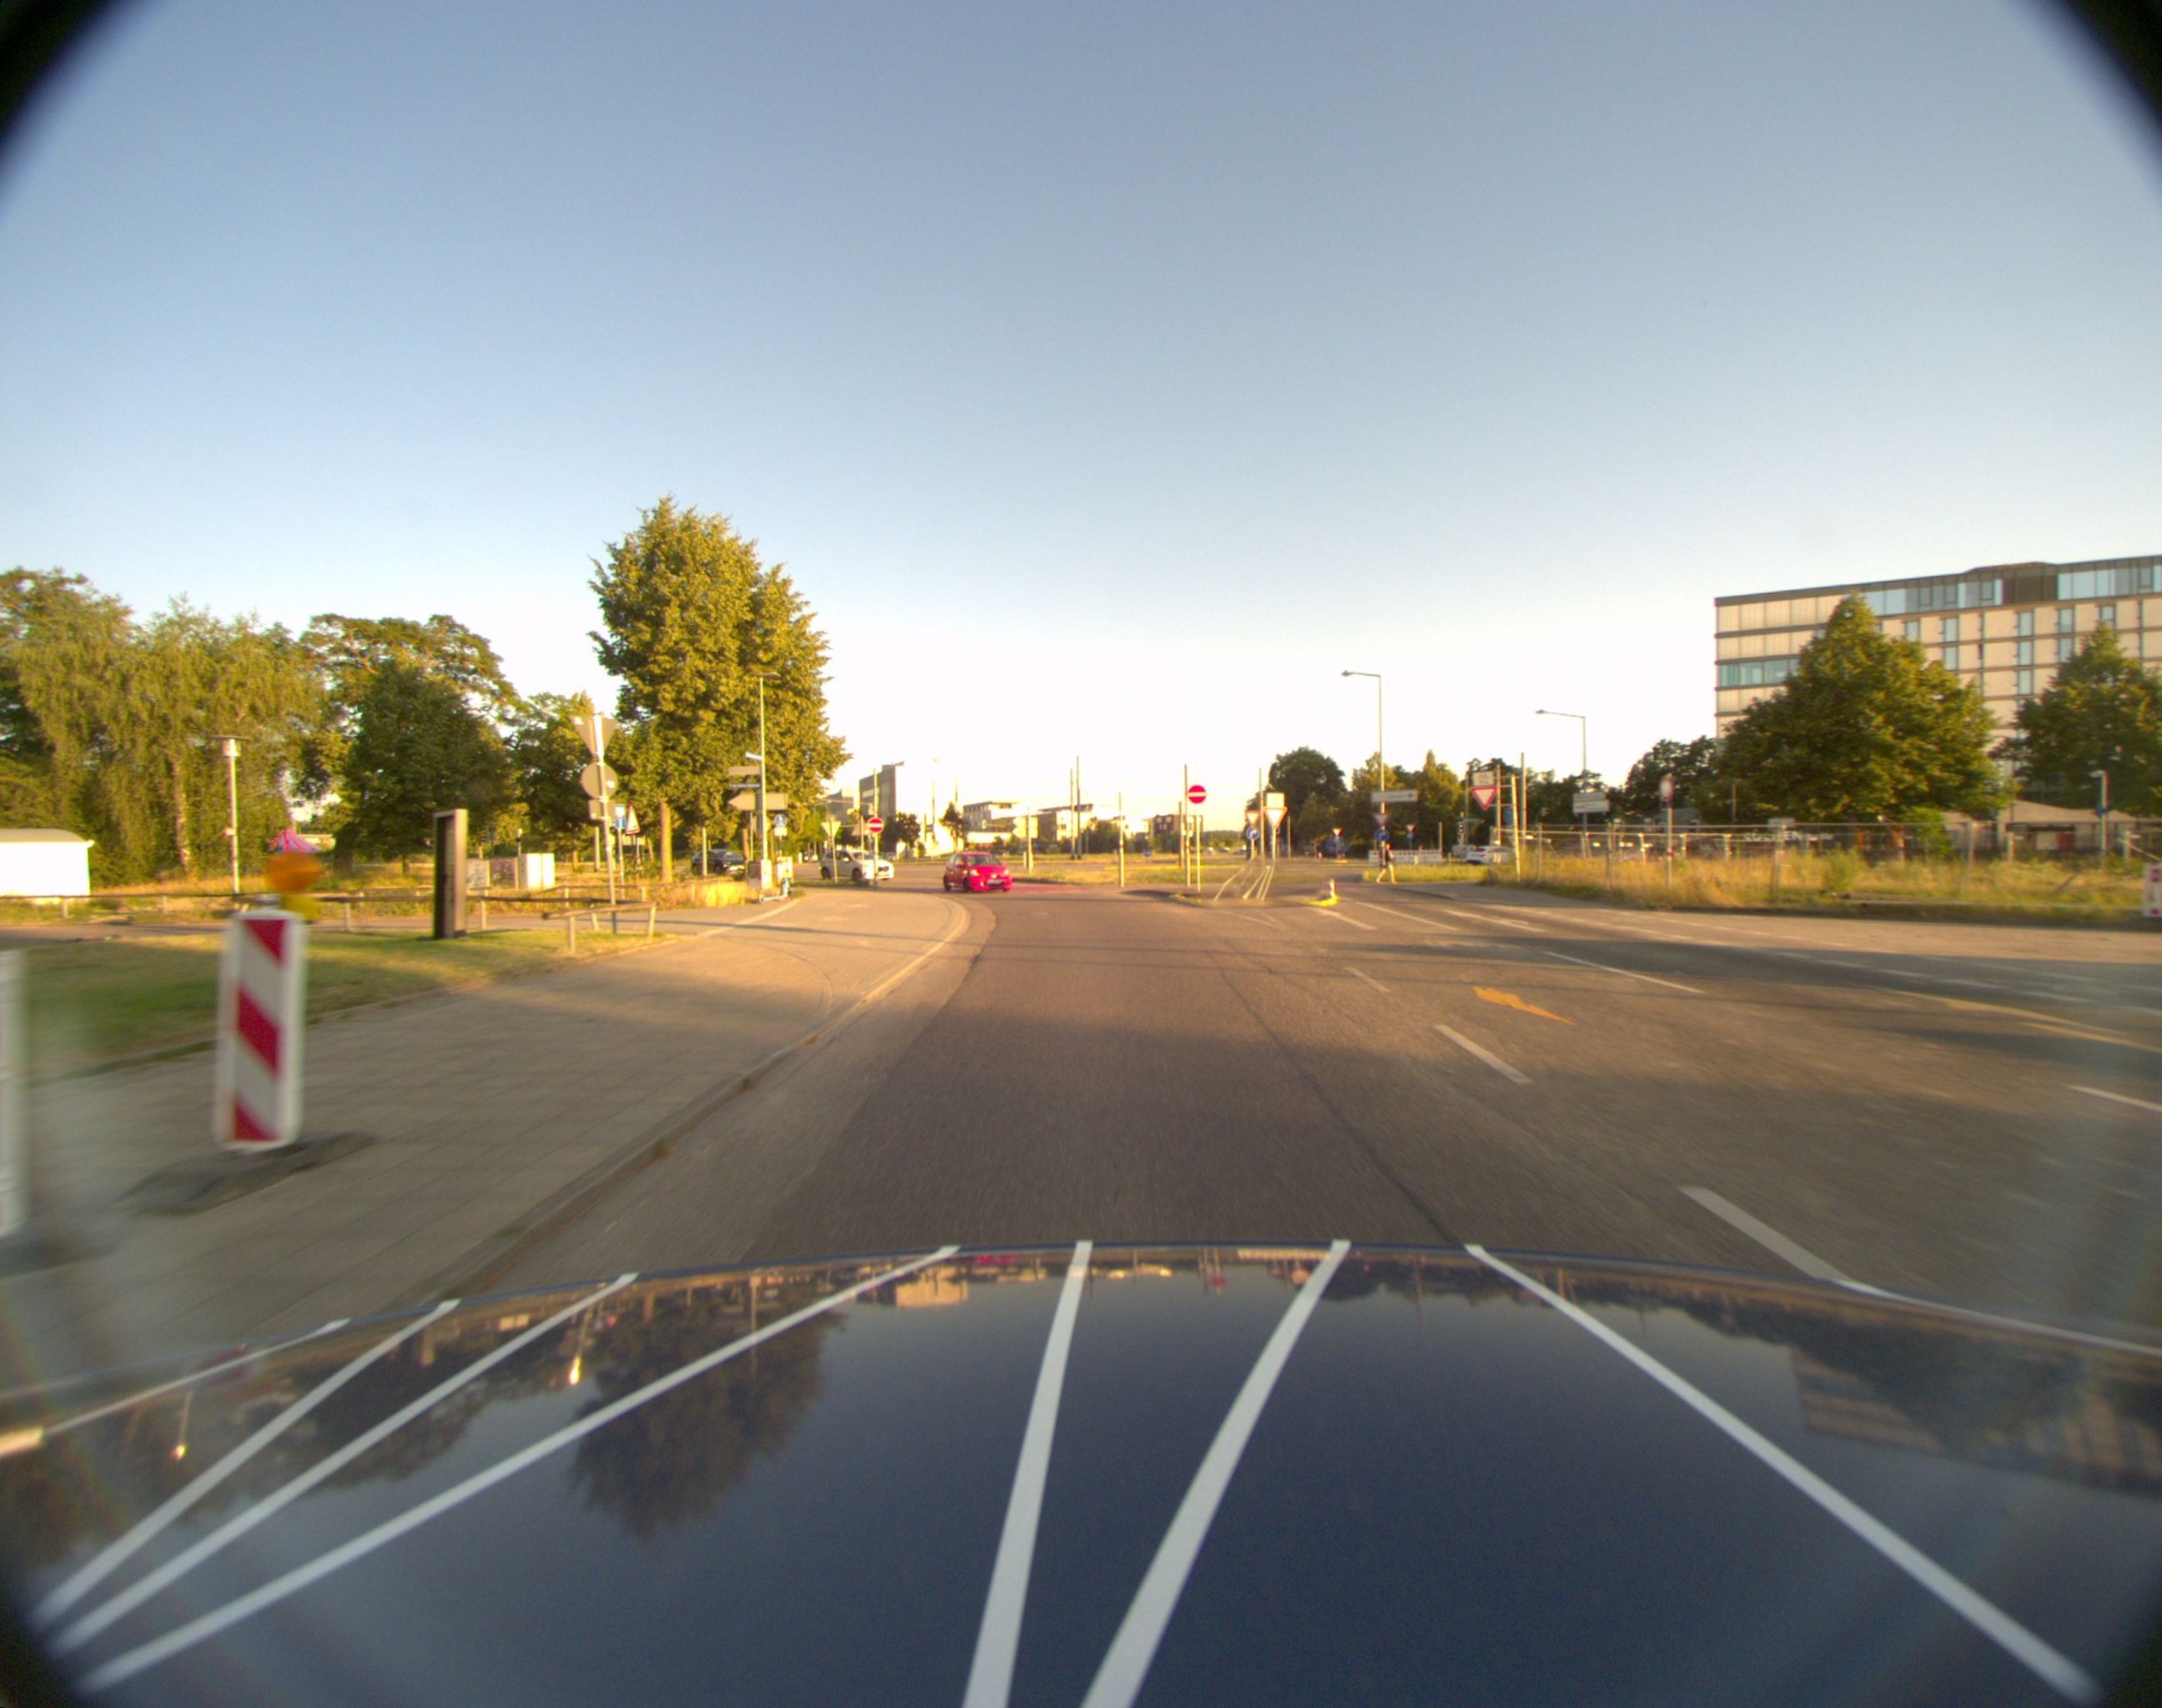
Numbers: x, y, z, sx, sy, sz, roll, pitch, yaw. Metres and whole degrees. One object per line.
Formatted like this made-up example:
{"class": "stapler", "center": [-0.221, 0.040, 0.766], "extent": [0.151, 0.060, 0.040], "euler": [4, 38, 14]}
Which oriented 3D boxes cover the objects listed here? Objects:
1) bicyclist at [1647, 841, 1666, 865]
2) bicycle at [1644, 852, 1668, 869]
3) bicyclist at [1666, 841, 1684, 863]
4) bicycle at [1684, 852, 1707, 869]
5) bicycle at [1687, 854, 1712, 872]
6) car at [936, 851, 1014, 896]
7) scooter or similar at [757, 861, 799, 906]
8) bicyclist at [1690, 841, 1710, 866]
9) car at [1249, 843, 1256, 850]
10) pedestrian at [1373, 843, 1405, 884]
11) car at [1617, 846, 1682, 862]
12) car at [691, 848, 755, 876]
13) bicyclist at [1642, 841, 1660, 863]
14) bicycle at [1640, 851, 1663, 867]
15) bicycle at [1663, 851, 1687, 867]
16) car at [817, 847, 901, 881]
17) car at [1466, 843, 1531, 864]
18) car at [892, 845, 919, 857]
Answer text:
{"class": "bicyclist", "center": [36.536, -0.081, 48.258], "extent": [0.699, 1.483, 0.975], "euler": [1, 2, 22]}
{"class": "bicycle", "center": [36.556, 0.408, 48.327], "extent": [0.699, 1.038, 2.082], "euler": [1, 1, 22]}
{"class": "bicyclist", "center": [40.490, -0.153, 51.822], "extent": [0.699, 1.483, 0.975], "euler": [1, 2, 22]}
{"class": "bicycle", "center": [38.908, 0.400, 48.128], "extent": [0.699, 1.038, 2.082], "euler": [1, 2, 26]}
{"class": "bicycle", "center": [37.494, 0.527, 46.063], "extent": [0.699, 1.038, 2.082], "euler": [1, 2, 26]}
{"class": "car", "center": [-4.028, 0.654, 28.255], "extent": [1.622, 1.405, 4.400], "euler": [-2, 2, -25]}
{"class": "scooter or similar", "center": [-8.725, 0.839, 21.933], "extent": [0.196, 1.229, 1.166], "euler": [1, 3, 34]}
{"class": "bicyclist", "center": [37.486, -0.037, 46.029], "extent": [0.699, 1.483, 0.975], "euler": [1, 2, 26]}
{"class": "car", "center": [52.690, -2.395, 232.962], "extent": [1.996, 2.002, 4.003], "euler": [0, 1, 14]}
{"class": "pedestrian", "center": [12.848, 0.376, 31.713], "extent": [0.927, 1.685, 0.786], "euler": [1, 1, -12]}
{"class": "car", "center": [54.280, -0.018, 72.653], "extent": [4.583, 1.414, 1.824], "euler": [0, 1, 16]}
{"class": "car", "center": [-21.625, 0.453, 45.806], "extent": [4.396, 1.548, 1.795], "euler": [0, 2, 40]}
{"class": "bicyclist", "center": [38.617, -0.144, 51.479], "extent": [0.699, 1.483, 0.975], "euler": [1, 2, 22]}
{"class": "bicycle", "center": [38.589, 0.348, 51.415], "extent": [0.699, 1.038, 2.082], "euler": [1, 1, 22]}
{"class": "bicycle", "center": [40.468, 0.339, 51.787], "extent": [0.699, 1.038, 2.082], "euler": [1, 1, 22]}
{"class": "car", "center": [-11.184, 0.461, 38.175], "extent": [4.396, 1.548, 1.794], "euler": [0, 2, 38]}
{"class": "car", "center": [29.643, -0.062, 53.945], "extent": [4.002, 1.456, 1.629], "euler": [-1, 1, -13]}
{"class": "car", "center": [-18.053, -0.333, 77.965], "extent": [1.623, 1.262, 3.804], "euler": [-1, 1, -29]}
